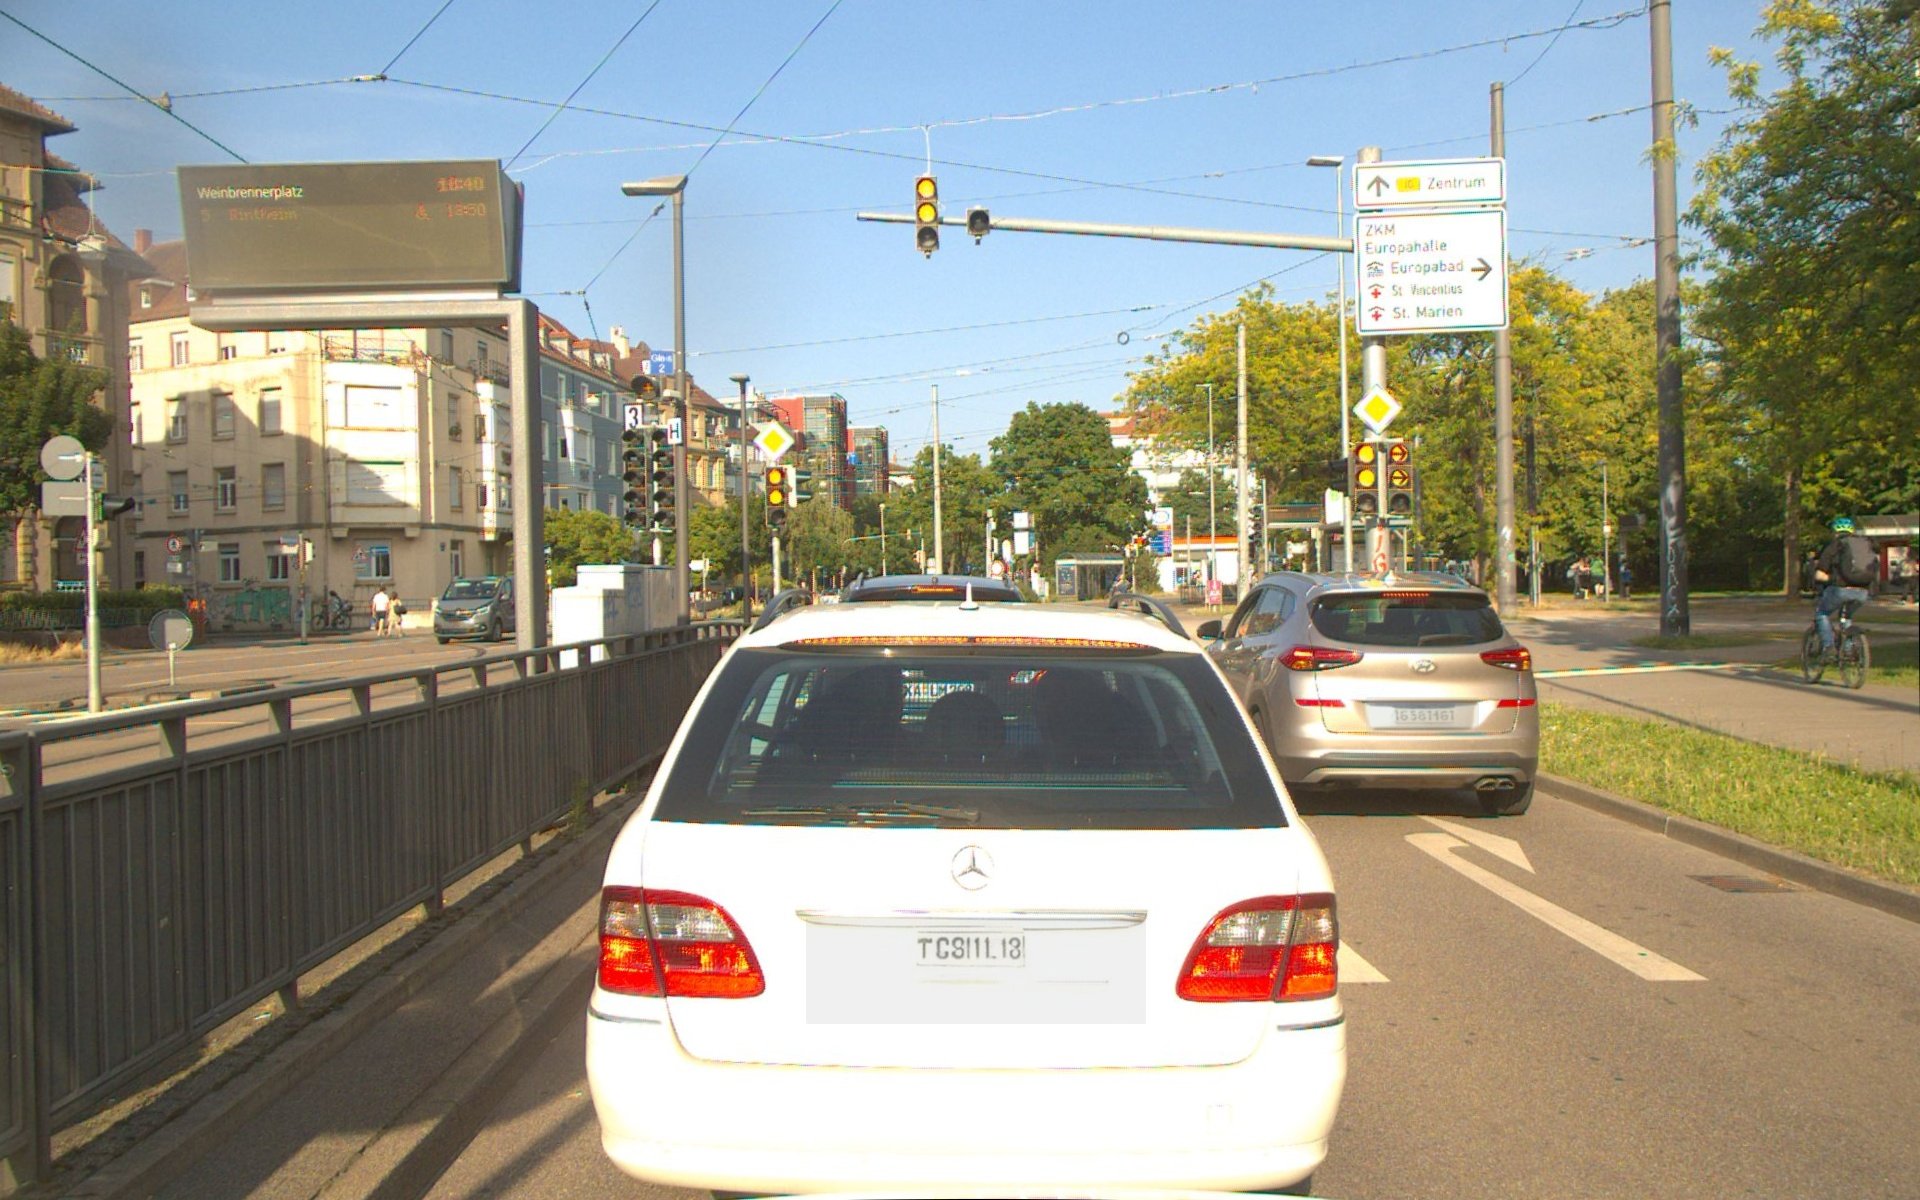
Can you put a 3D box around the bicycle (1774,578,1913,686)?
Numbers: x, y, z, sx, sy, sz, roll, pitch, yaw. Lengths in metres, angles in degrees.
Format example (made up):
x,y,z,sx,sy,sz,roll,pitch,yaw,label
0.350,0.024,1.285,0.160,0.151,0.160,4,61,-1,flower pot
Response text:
x,y,z,sx,sy,sz,roll,pitch,yaw,label
9.812,0.327,18.435,0.627,1.107,1.734,-4,0,3,bicycle

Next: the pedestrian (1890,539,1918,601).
x,y,z,sx,sy,sz,roll,pitch,yaw,label
29.288,-0.932,51.320,0.454,1.900,0.602,1,-1,-21,pedestrian

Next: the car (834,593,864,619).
x,y,z,sx,sy,sz,roll,pitch,yaw,label
-7.334,0.405,109.864,1.642,1.552,4.125,-1,2,0,car

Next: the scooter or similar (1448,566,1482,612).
x,y,z,sx,sy,sz,roll,pitch,yaw,label
13.933,-0.301,45.654,0.345,1.253,1.131,-1,0,-15,scooter or similar

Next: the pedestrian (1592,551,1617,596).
x,y,z,sx,sy,sz,roll,pitch,yaw,label
24.518,-1.015,62.927,0.628,1.694,0.690,-1,0,-1,pedestrian

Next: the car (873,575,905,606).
x,y,z,sx,sy,sz,roll,pitch,yaw,label
-5.415,-0.777,126.304,2.132,2.278,5.253,-1,1,0,car

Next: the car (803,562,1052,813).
x,y,z,sx,sy,sz,roll,pitch,yaw,label
-0.239,0.554,12.647,1.608,1.628,3.814,0,0,-1,car

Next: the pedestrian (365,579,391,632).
x,y,z,sx,sy,sz,roll,pitch,yaw,label
-21.635,0.200,61.479,0.644,1.913,0.627,-1,0,14,pedestrian

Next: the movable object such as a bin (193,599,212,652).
x,y,z,sx,sy,sz,roll,pitch,yaw,label
-25.402,0.845,55.476,0.261,1.739,2.357,-2,1,-31,movable object such as a bin

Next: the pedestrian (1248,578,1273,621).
x,y,z,sx,sy,sz,roll,pitch,yaw,label
14.722,-0.035,80.919,0.976,2.049,0.827,-1,0,27,pedestrian

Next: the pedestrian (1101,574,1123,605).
x,y,z,sx,sy,sz,roll,pitch,yaw,label
8.047,-0.577,87.541,0.985,1.619,0.866,-1,0,18,pedestrian

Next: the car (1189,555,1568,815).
x,y,z,sx,sy,sz,roll,pitch,yaw,label
2.891,0.520,12.277,1.798,1.628,3.814,0,0,-1,car

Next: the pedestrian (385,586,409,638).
x,y,z,sx,sy,sz,roll,pitch,yaw,label
-20.943,0.440,61.534,0.661,1.880,0.649,-1,0,-3,pedestrian

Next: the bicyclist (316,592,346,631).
x,y,z,sx,sy,sz,roll,pitch,yaw,label
-26.523,0.494,69.747,1.020,1.597,0.661,-1,0,-6,bicyclist

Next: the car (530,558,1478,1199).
x,y,z,sx,sy,sz,roll,pitch,yaw,label
0.062,0.674,5.052,1.798,1.527,3.814,0,0,-1,car

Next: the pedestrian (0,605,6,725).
x,y,z,sx,sy,sz,roll,pitch,yaw,label
-13.198,0.886,22.019,0.578,1.617,0.715,-1,0,-5,pedestrian

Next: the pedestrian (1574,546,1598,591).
x,y,z,sx,sy,sz,roll,pitch,yaw,label
24.247,-1.214,64.096,0.628,1.694,0.690,-1,0,-1,pedestrian

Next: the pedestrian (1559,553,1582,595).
x,y,z,sx,sy,sz,roll,pitch,yaw,label
23.964,-1.021,64.940,0.628,1.638,0.690,-1,0,-1,pedestrian

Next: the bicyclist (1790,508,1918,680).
x,y,z,sx,sy,sz,roll,pitch,yaw,label
9.769,-0.069,18.117,0.705,1.776,1.140,-4,0,3,bicyclist

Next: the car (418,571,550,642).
x,y,z,sx,sy,sz,roll,pitch,yaw,label
-14.618,0.166,51.159,2.100,2.049,5.390,-1,0,5,car

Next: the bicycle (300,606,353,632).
x,y,z,sx,sy,sz,roll,pitch,yaw,label
-26.703,0.793,69.727,1.951,1.024,0.742,-2,0,-3,bicycle

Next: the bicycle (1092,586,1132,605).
x,y,z,sx,sy,sz,roll,pitch,yaw,label
8.053,-0.245,87.561,1.975,0.963,0.880,-1,0,19,bicycle
